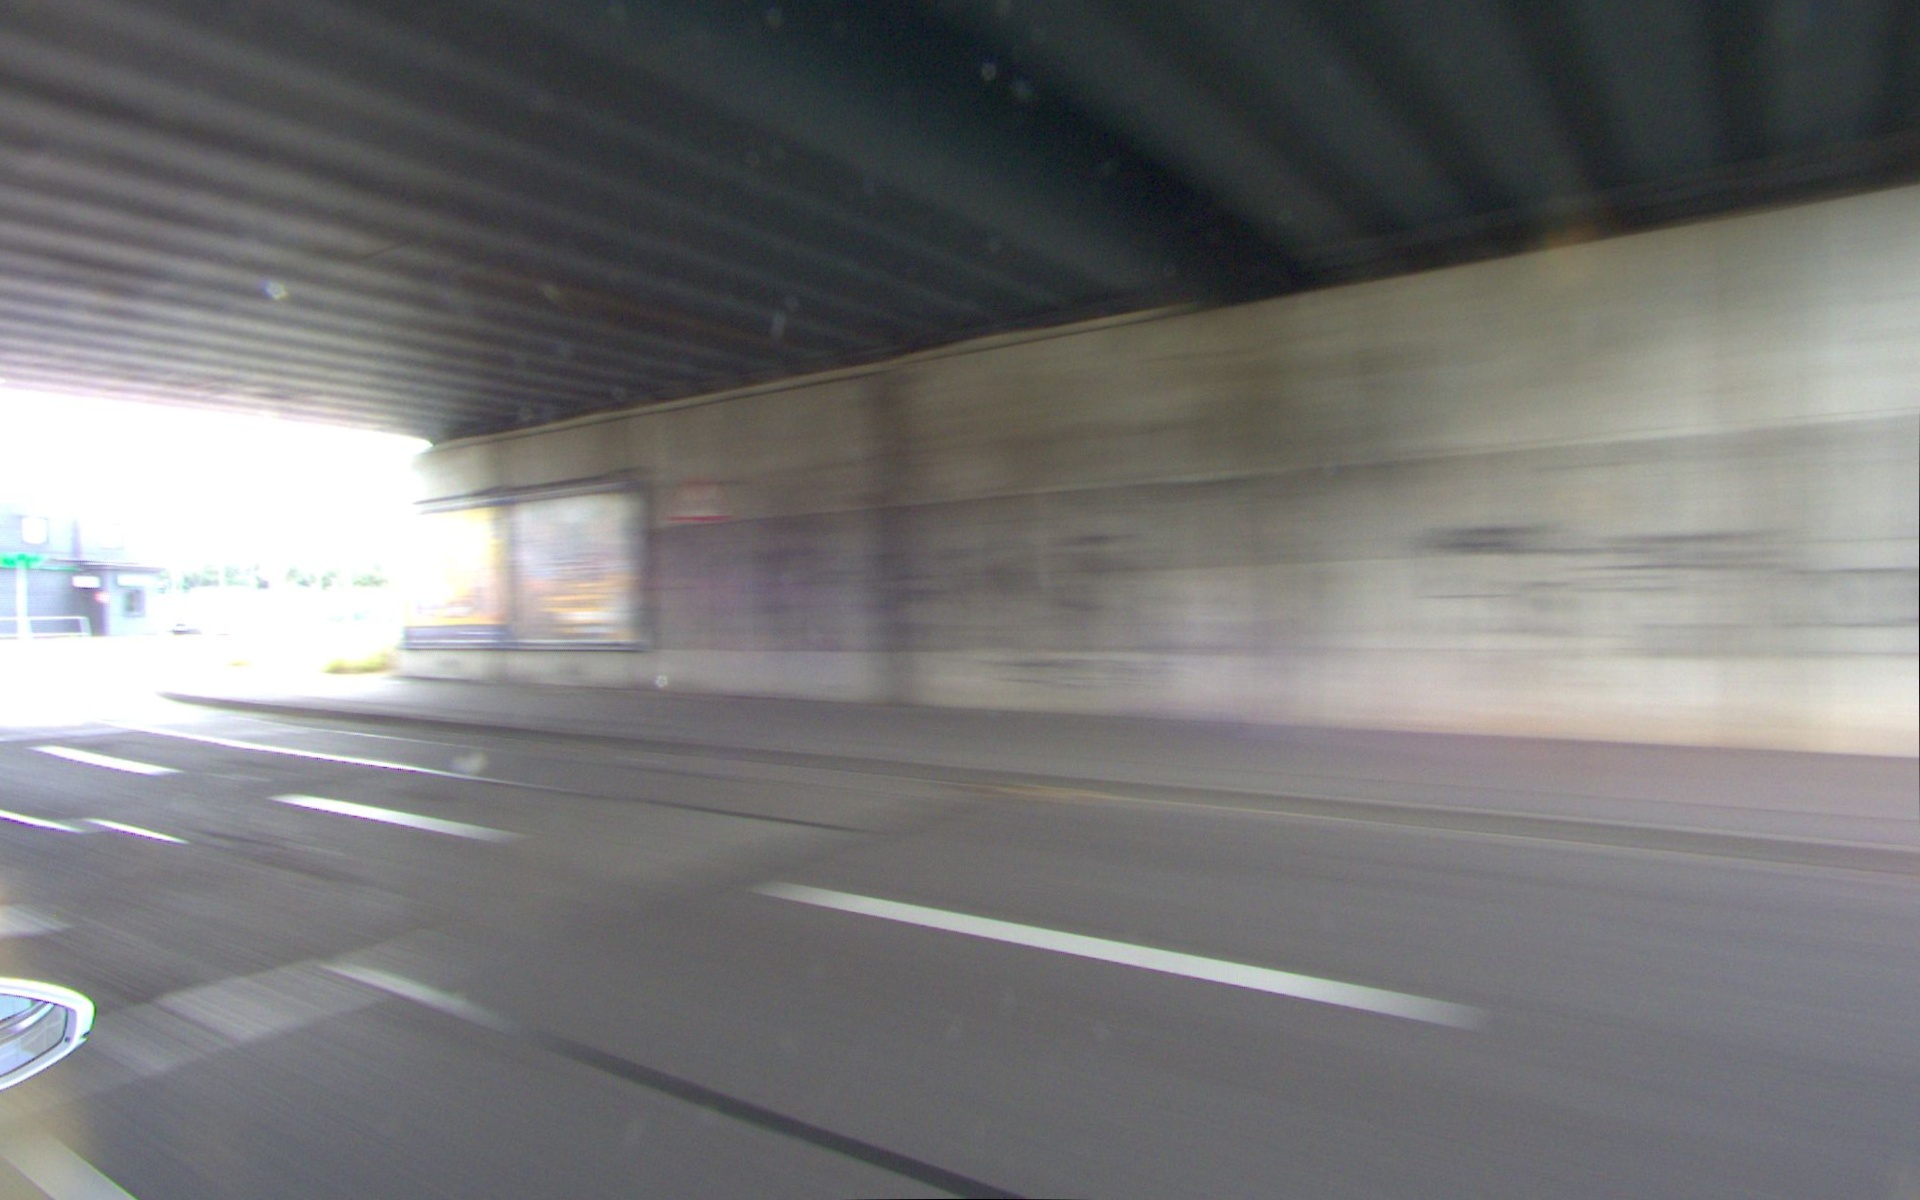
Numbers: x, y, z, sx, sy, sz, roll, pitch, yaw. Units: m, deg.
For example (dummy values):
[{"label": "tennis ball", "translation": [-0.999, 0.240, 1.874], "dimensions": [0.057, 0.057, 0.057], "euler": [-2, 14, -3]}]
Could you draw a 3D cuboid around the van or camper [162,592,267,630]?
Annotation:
[{"label": "van or camper", "translation": [-46.018, 0.756, 62.033], "dimensions": [2.085, 2.200, 6.250], "euler": [0, -2, -3]}]
